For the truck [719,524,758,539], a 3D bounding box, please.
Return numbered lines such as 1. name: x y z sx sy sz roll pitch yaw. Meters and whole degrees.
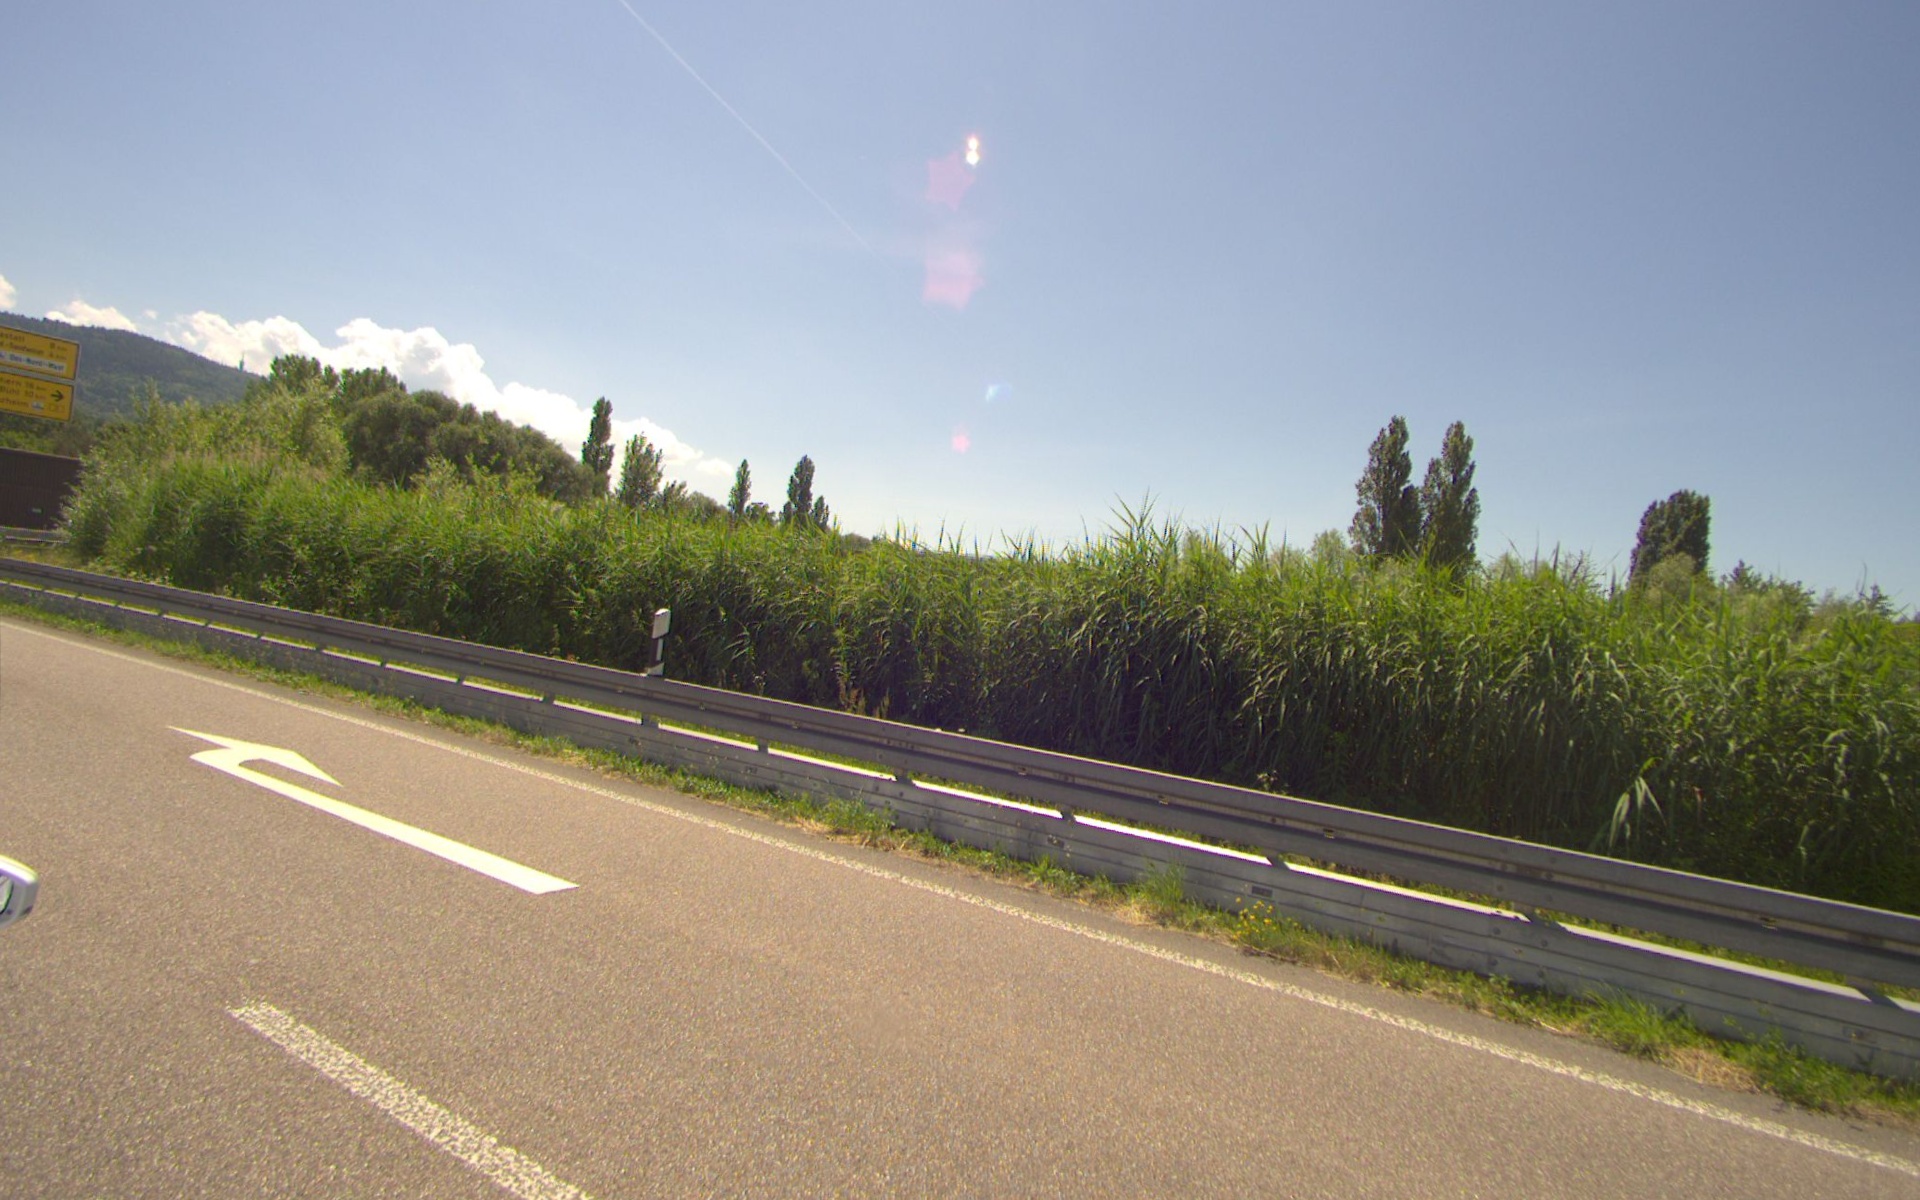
1. truck: -38.743 -11.999 175.937 6.806 2.037 2.347 6 -1 32
